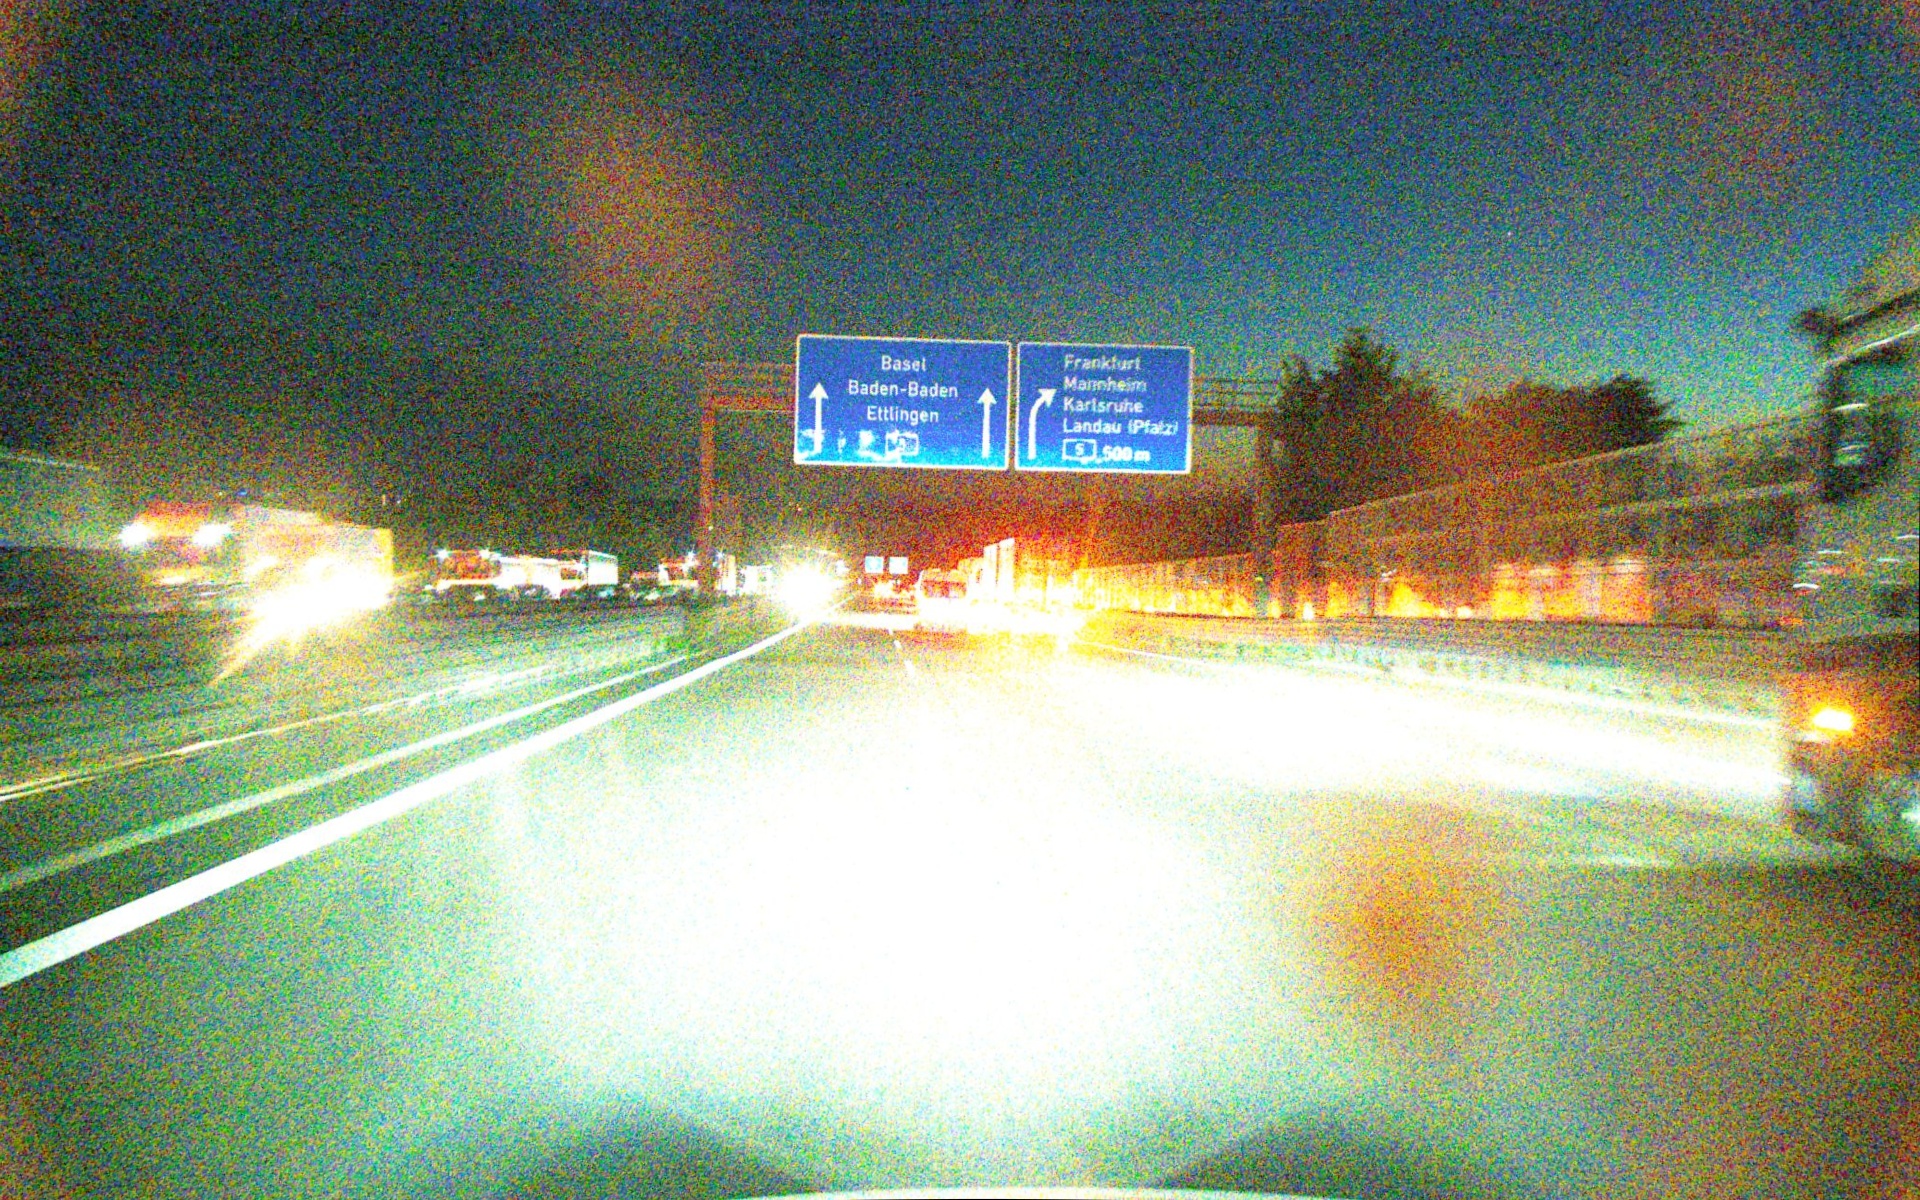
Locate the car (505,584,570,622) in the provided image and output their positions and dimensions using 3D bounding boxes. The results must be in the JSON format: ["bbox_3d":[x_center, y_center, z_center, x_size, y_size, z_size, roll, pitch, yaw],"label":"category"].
[{"bbox_3d":[-15.920,0.098,62.458,1.539,1.378,3.998,1,0,-2],"label":"car"}]

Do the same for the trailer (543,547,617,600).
[{"bbox_3d":[-27.492,-1.834,120.225,2.901,3.502,13.428,2,0,-3],"label":"trailer"}]

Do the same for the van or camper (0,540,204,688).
[{"bbox_3d":[-9.892,0.110,17.171,1.783,1.378,5.349,1,0,-2],"label":"van or camper"}]

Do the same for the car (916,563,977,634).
[{"bbox_3d":[-0.526,-0.008,65.838,2.289,2.686,5.246,1,-1,0],"label":"car"}]

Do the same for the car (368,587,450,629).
[{"bbox_3d":[-19.291,0.267,58.061,1.680,1.378,3.998,1,0,-3],"label":"car"}]

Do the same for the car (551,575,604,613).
[{"bbox_3d":[-16.637,-0.240,72.045,1.665,1.512,3.973,3,-1,-6],"label":"car"}]

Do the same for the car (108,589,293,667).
[{"bbox_3d":[-14.342,0.496,31.477,1.538,1.378,4.001,1,0,2],"label":"car"}]

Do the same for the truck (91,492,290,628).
[{"bbox_3d":[-22.748,-1.110,49.366,2.825,3.740,7.259,1,0,-3],"label":"truck"}]

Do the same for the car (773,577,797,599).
[{"bbox_3d":[-18.281,-1.233,173.127,1.953,2.049,5.322,3,-1,-2],"label":"car"}]

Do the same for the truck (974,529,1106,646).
[{"bbox_3d":[3.336,-0.428,77.655,3.837,4.708,21.001,-1,0,-4],"label":"truck"}]

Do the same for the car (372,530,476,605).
[{"bbox_3d":[-15.963,-0.923,49.458,1.954,2.049,3.996,3,-1,-4],"label":"car"}]

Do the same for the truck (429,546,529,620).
[{"bbox_3d":[-20.889,-0.672,72.260,2.505,3.038,7.447,1,-1,-3],"label":"truck"}]

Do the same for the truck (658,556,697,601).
[{"bbox_3d":[-24.515,-1.887,143.803,2.819,3.737,6.043,2,0,-6],"label":"truck"}]

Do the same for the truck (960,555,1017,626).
[{"bbox_3d":[1.885,-0.691,116.448,3.277,4.554,13.906,2,0,-2],"label":"truck"}]

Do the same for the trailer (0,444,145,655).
[{"bbox_3d":[-17.993,-0.904,28.837,2.346,3.691,11.175,1,0,-2],"label":"trailer"}]

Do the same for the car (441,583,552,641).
[{"bbox_3d":[-11.589,0.281,41.621,1.538,1.378,4.001,1,0,2],"label":"car"}]

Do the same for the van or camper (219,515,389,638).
[{"bbox_3d":[-19.317,-0.659,49.171,2.384,3.329,7.389,1,0,-3],"label":"van or camper"}]

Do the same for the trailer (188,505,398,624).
[{"bbox_3d":[-23.287,-1.133,58.804,2.825,3.740,13.123,1,0,-3],"label":"trailer"}]

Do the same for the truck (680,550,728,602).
[{"bbox_3d":[-19.772,-1.783,128.047,2.817,3.738,6.774,3,-1,-4],"label":"truck"}]

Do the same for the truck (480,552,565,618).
[{"bbox_3d":[-21.311,-0.667,80.939,2.505,3.038,7.447,1,-1,-3],"label":"truck"}]

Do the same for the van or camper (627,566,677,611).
[{"bbox_3d":[-19.177,-0.696,103.282,2.042,2.678,7.600,1,0,-3],"label":"van or camper"}]

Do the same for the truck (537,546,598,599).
[{"bbox_3d":[-27.216,-1.862,115.031,2.901,3.502,6.358,2,0,-3],"label":"truck"}]

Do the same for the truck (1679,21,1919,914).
[{"bbox_3d":[5.897,-0.618,6.409,2.804,4.148,7.509,-1,0,-1],"label":"truck"}]

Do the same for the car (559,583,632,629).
[{"bbox_3d":[-11.295,0.173,51.442,1.539,1.378,3.998,1,0,-3],"label":"car"}]
